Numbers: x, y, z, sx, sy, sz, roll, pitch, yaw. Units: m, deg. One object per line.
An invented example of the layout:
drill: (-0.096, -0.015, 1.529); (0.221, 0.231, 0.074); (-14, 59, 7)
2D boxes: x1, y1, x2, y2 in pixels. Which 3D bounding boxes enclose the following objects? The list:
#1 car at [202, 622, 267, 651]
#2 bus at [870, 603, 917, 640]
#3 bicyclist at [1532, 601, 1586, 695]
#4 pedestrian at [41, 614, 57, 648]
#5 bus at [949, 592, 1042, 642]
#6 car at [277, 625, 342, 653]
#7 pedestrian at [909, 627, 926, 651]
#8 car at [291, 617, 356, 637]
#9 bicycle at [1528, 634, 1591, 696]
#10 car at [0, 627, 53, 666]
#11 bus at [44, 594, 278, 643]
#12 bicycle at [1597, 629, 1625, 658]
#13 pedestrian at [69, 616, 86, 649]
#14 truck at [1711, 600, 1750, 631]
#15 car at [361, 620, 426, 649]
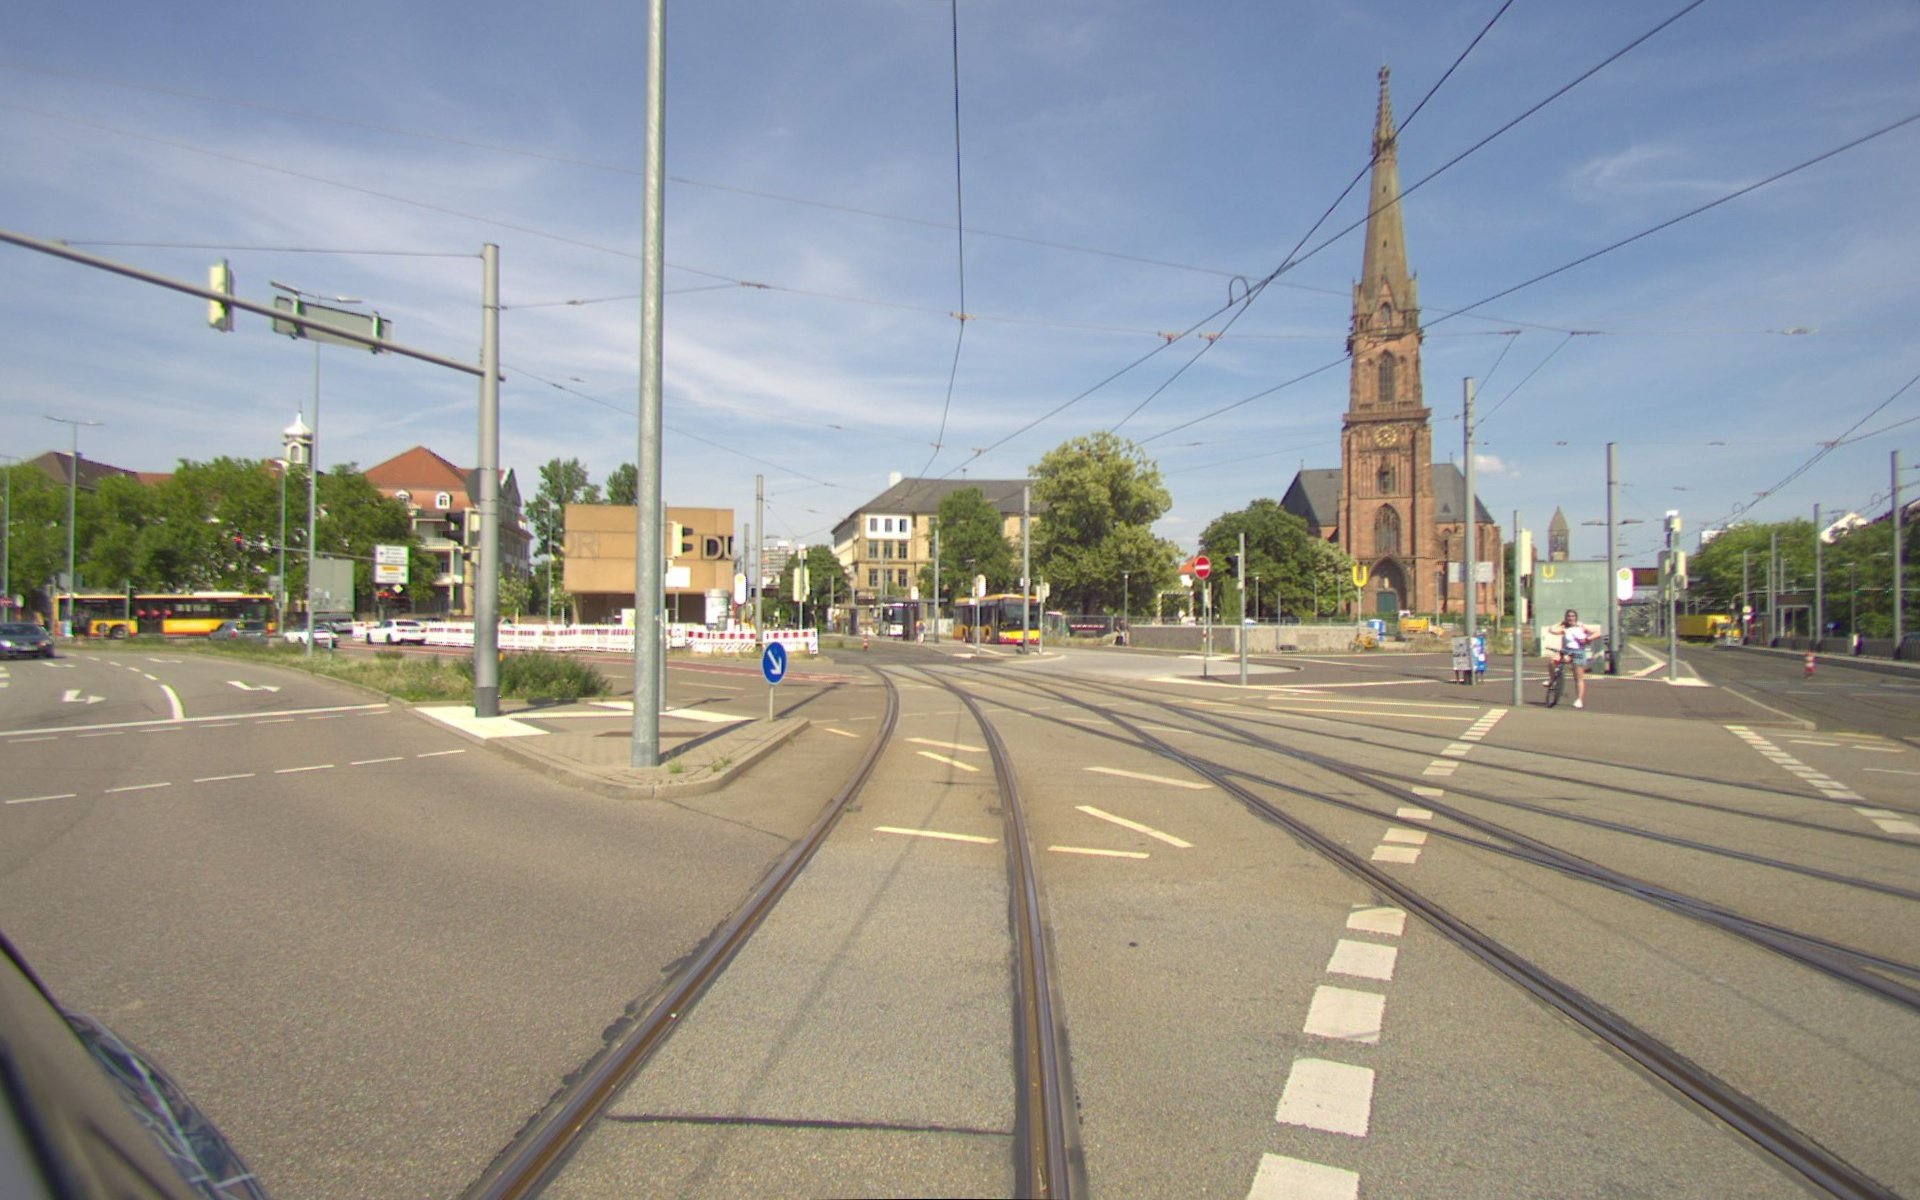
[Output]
car: (-35.688, 1.757, 49.737); (3.996, 1.296, 1.579); (-1, 0, 39)
bus: (-6.561, 2.104, 97.374); (2.713, 3.348, 11.818); (0, -2, -13)
bicyclist: (11.122, 0.887, 18.782); (0.751, 1.697, 0.766); (-1, -3, 40)
pedestrian: (-46.205, 1.562, 51.345); (0.533, 1.686, 0.753); (1, -2, -40)
bus: (1.952, 0.928, 62.077); (2.713, 2.703, 11.819); (-1, 0, -13)
car: (-33.112, 1.958, 51.473); (3.996, 1.296, 1.579); (-1, 0, 39)
pedestrian: (-2.513, 2.316, 60.216); (0.530, 1.377, 0.913); (-1, 0, -40)
car: (-50.848, 2.134, 80.913); (1.749, 1.454, 4.079); (-1, 0, 25)
bicycle: (11.136, 1.200, 18.777); (0.750, 1.092, 1.824); (-1, -3, 39)
car: (-37.511, 1.801, 39.795); (4.105, 1.435, 1.634); (-1, 0, 31)
bus: (-53.017, 1.231, 67.760); (11.938, 3.061, 2.806); (0, -2, -28)
bicycle: (25.907, 1.720, 40.287); (1.637, 1.079, 0.414); (-1, -1, -39)
pedestrian: (-45.954, 1.679, 52.715); (0.634, 1.686, 0.753); (1, -2, -41)
truck: (88.400, 1.847, 116.295); (2.543, 3.324, 8.929); (-4, -4, 32)
car: (-31.361, 1.881, 55.980); (3.996, 1.431, 1.780); (-1, 0, 39)
